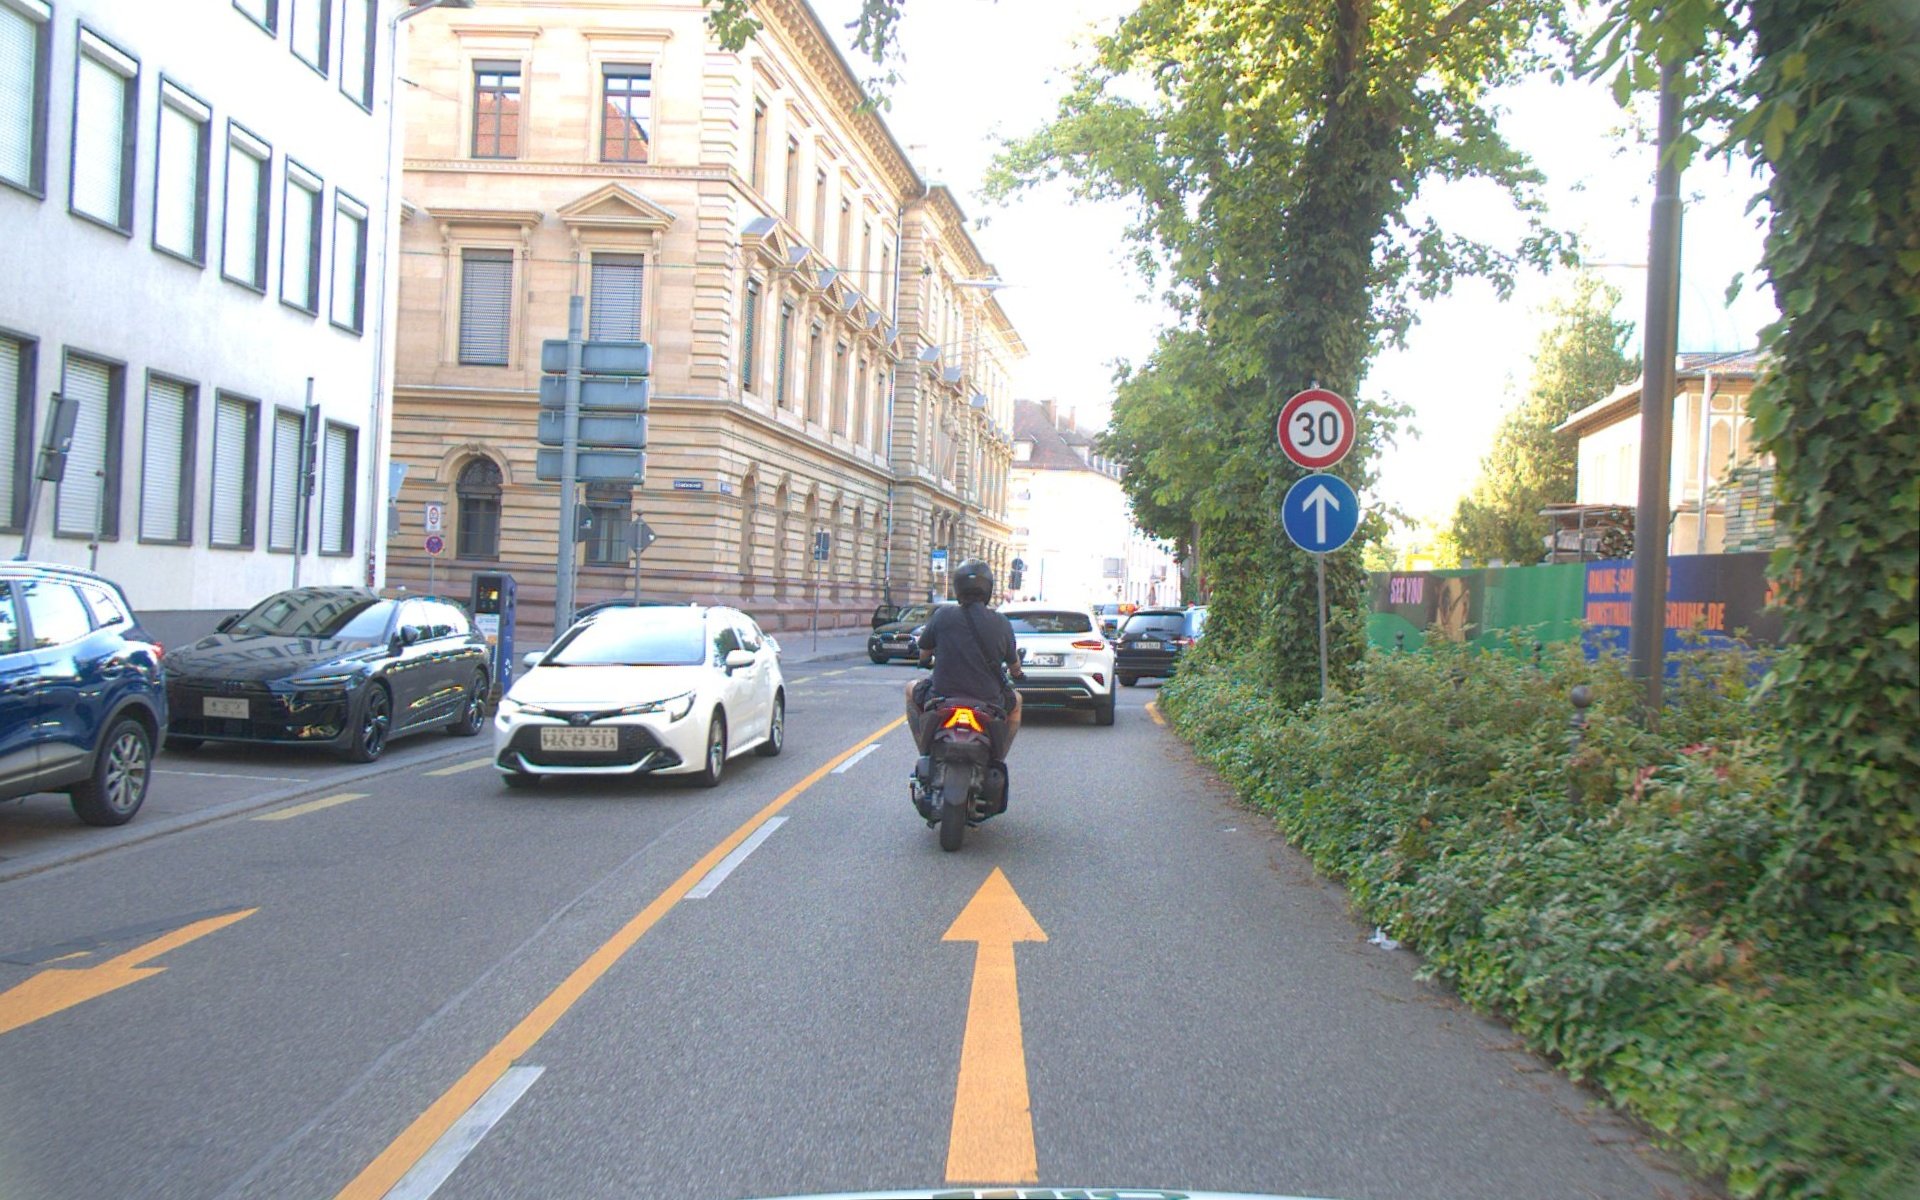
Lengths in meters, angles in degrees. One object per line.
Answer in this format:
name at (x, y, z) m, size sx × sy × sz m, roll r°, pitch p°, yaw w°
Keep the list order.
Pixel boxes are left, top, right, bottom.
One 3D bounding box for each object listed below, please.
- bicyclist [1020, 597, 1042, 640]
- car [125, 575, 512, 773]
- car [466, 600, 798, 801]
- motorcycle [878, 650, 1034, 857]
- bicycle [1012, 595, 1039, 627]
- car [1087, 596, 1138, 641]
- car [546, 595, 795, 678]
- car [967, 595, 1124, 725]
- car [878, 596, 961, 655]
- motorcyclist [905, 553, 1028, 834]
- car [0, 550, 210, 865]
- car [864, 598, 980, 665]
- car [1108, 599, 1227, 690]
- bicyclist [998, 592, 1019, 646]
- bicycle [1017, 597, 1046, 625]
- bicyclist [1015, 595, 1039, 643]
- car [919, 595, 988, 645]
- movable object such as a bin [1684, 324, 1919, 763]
bicyclist at (2.676, 0.688, 62.527) m, size 0.615 × 1.581 × 0.732 m, roll 1°, pitch 0°, yaw 20°
car at (-5.946, 0.605, 16.047) m, size 1.786 × 1.530 × 4.760 m, roll 3°, pitch 0°, yaw 0°
car at (-2.650, 0.746, 14.445) m, size 1.698 × 1.446 × 4.431 m, roll -1°, pitch 0°, yaw 4°
motorcycle at (0.013, 0.901, 10.311) m, size 0.780 × 1.084 × 1.726 m, roll 3°, pitch 0°, yaw 4°
bicycle at (2.278, 0.376, 57.053) m, size 0.521 × 1.053 × 1.908 m, roll 1°, pitch 0°, yaw 15°
car at (6.141, 0.722, 66.983) m, size 1.951 × 1.724 × 4.401 m, roll 1°, pitch 0°, yaw 4°
car at (-5.395, 0.660, 31.041) m, size 4.221 × 1.414 × 1.777 m, roll 1°, pitch 0°, yaw 10°
car at (1.203, 0.695, 21.504) m, size 1.811 × 1.506 × 4.060 m, roll 0°, pitch 0°, yaw 6°
car at (-1.117, 0.715, 48.251) m, size 1.951 × 1.594 × 4.291 m, roll 1°, pitch 0°, yaw 4°
motorcyclist at (0.050, 0.569, 10.410) m, size 0.643 × 1.679 × 0.651 m, roll 3°, pitch 0°, yaw 4°
car at (-6.095, 0.553, 9.075) m, size 1.894 × 1.696 × 4.347 m, roll 2°, pitch 0°, yaw 1°
car at (-0.839, 0.714, 39.724) m, size 1.732 × 1.486 × 4.473 m, roll 1°, pitch 0°, yaw 13°
car at (3.988, 0.804, 31.301) m, size 1.801 × 1.489 × 4.061 m, roll 3°, pitch 0°, yaw 12°
bicyclist at (1.520, 0.592, 52.024) m, size 0.554 × 1.696 × 0.835 m, roll 1°, pitch 0°, yaw 7°
bicycle at (2.708, 0.405, 62.465) m, size 0.522 × 1.053 × 2.036 m, roll 1°, pitch 0°, yaw 20°
bicyclist at (2.321, 0.653, 57.046) m, size 0.615 × 1.642 × 0.870 m, roll 1°, pitch 0°, yaw 15°
car at (-0.167, 0.651, 55.395) m, size 1.951 × 1.555 × 4.187 m, roll 1°, pitch 0°, yaw 4°
movable object such as a bin at (11.821, -0.568, 19.613) m, size 3.238 × 4.618 × 7.908 m, roll 1°, pitch 0°, yaw 3°
